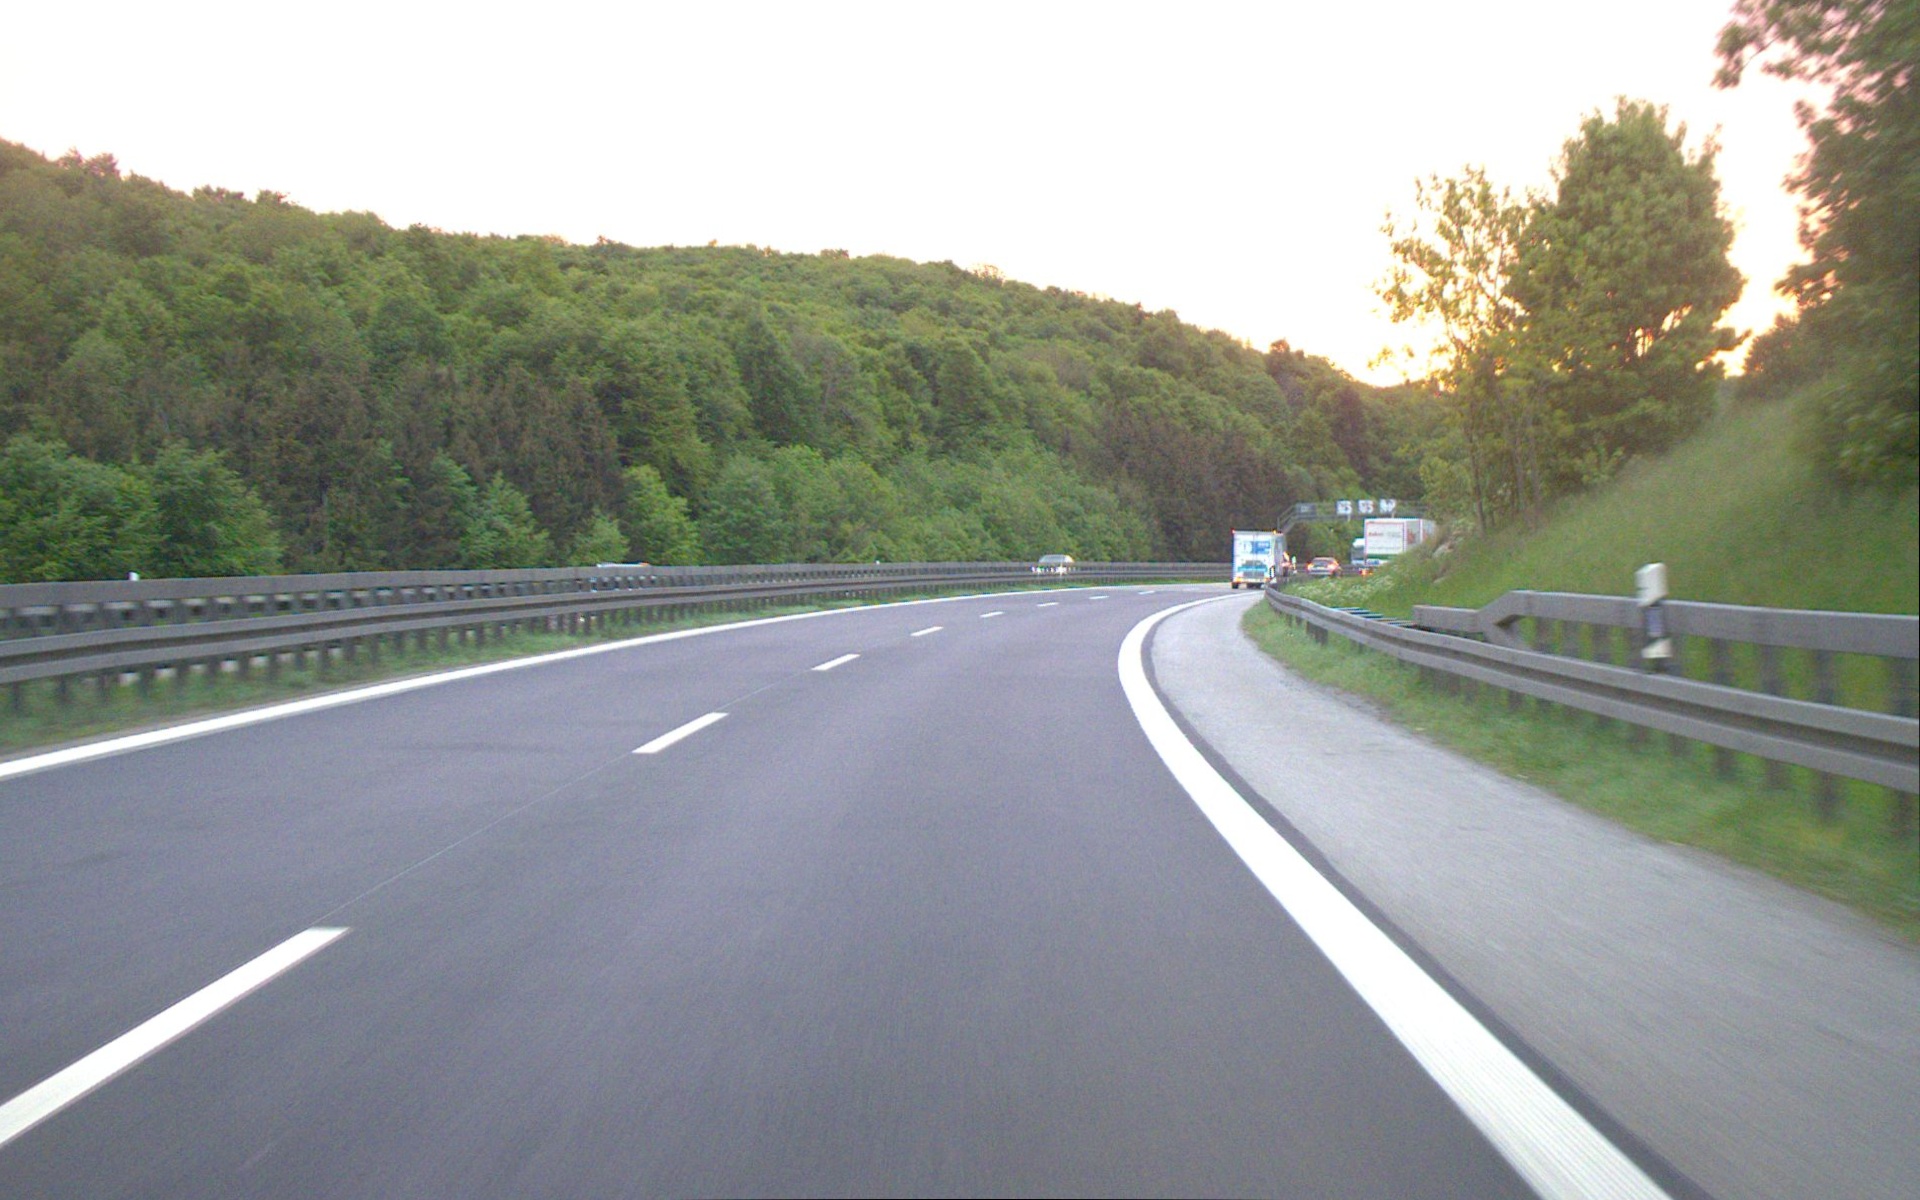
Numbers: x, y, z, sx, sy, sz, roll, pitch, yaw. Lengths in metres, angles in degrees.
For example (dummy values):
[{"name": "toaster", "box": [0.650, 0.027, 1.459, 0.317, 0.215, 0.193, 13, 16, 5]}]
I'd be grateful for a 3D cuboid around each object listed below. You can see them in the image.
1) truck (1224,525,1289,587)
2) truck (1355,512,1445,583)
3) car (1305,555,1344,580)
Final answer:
[{"name": "truck", "box": [13.665, -2.043, 158.200, 2.277, 2.655, 5.234, -1, 2, 12]}, {"name": "truck", "box": [27.936, -3.374, 217.629, 3.960, 4.272, 14.315, -1, 1, 14]}, {"name": "car", "box": [22.796, -2.059, 214.819, 1.994, 1.512, 3.998, 0, 1, 12]}]
